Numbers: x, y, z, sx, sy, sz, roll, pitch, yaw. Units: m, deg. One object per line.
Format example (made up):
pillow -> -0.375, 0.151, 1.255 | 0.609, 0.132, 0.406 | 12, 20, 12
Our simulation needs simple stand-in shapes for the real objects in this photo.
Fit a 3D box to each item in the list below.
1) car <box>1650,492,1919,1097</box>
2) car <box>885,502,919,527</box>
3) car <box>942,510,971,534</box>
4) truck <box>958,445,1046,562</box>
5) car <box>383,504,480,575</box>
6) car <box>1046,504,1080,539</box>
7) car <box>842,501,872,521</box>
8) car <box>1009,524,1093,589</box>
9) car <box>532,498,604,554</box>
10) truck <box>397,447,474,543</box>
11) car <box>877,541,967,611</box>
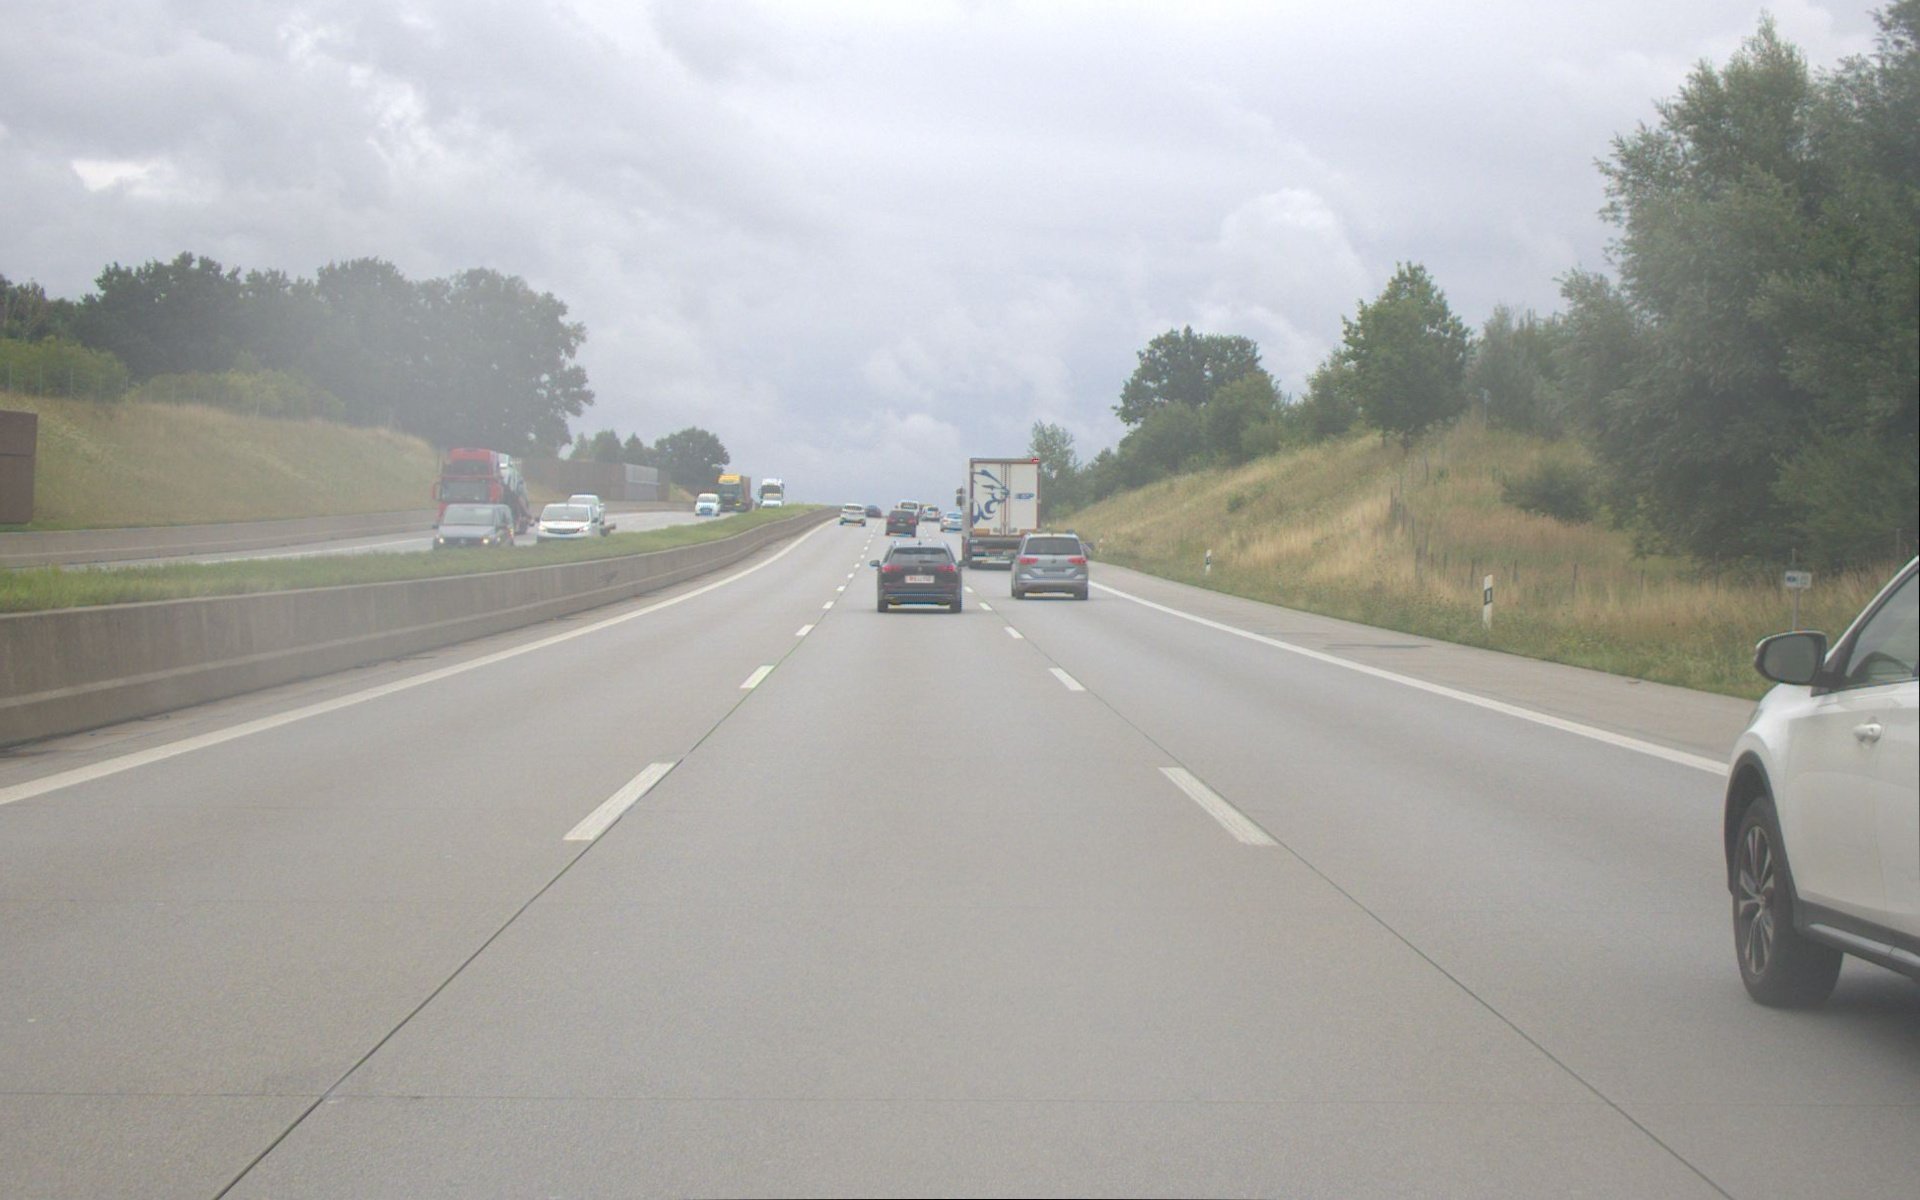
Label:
car -> 3.514, 0.519, 10.743 | 1.825, 1.650, 3.985 | 1, 1, -1
car -> -3.540, -5.250, 211.248 | 1.935, 1.370, 4.594 | 1, 0, 1
car -> -0.235, -5.548, 244.653 | 1.993, 1.634, 4.000 | 1, 1, 1
truck -> 1.509, -3.555, 128.197 | 3.017, 4.166, 8.354 | 1, 1, -1
car -> -15.064, -1.754, 98.255 | 1.993, 1.912, 5.346 | 1, 2, -1
car -> 6.163, -4.689, 205.844 | 1.993, 2.007, 4.000 | 1, 1, 1
car -> -7.317, -6.326, 245.372 | 1.947, 1.351, 4.260 | 1, 1, 0
car -> 2.236, -1.072, 84.594 | 1.993, 1.525, 4.000 | 1, 1, 1
car -> -13.730, -2.591, 120.638 | 1.993, 1.880, 5.513 | 1, 1, -2
truck -> -23.962, -4.769, 157.223 | 2.552, 4.237, 7.465 | 1, 1, -2
car -> -0.817, -0.496, 71.304 | 1.752, 1.393, 4.484 | 1, 0, -2
